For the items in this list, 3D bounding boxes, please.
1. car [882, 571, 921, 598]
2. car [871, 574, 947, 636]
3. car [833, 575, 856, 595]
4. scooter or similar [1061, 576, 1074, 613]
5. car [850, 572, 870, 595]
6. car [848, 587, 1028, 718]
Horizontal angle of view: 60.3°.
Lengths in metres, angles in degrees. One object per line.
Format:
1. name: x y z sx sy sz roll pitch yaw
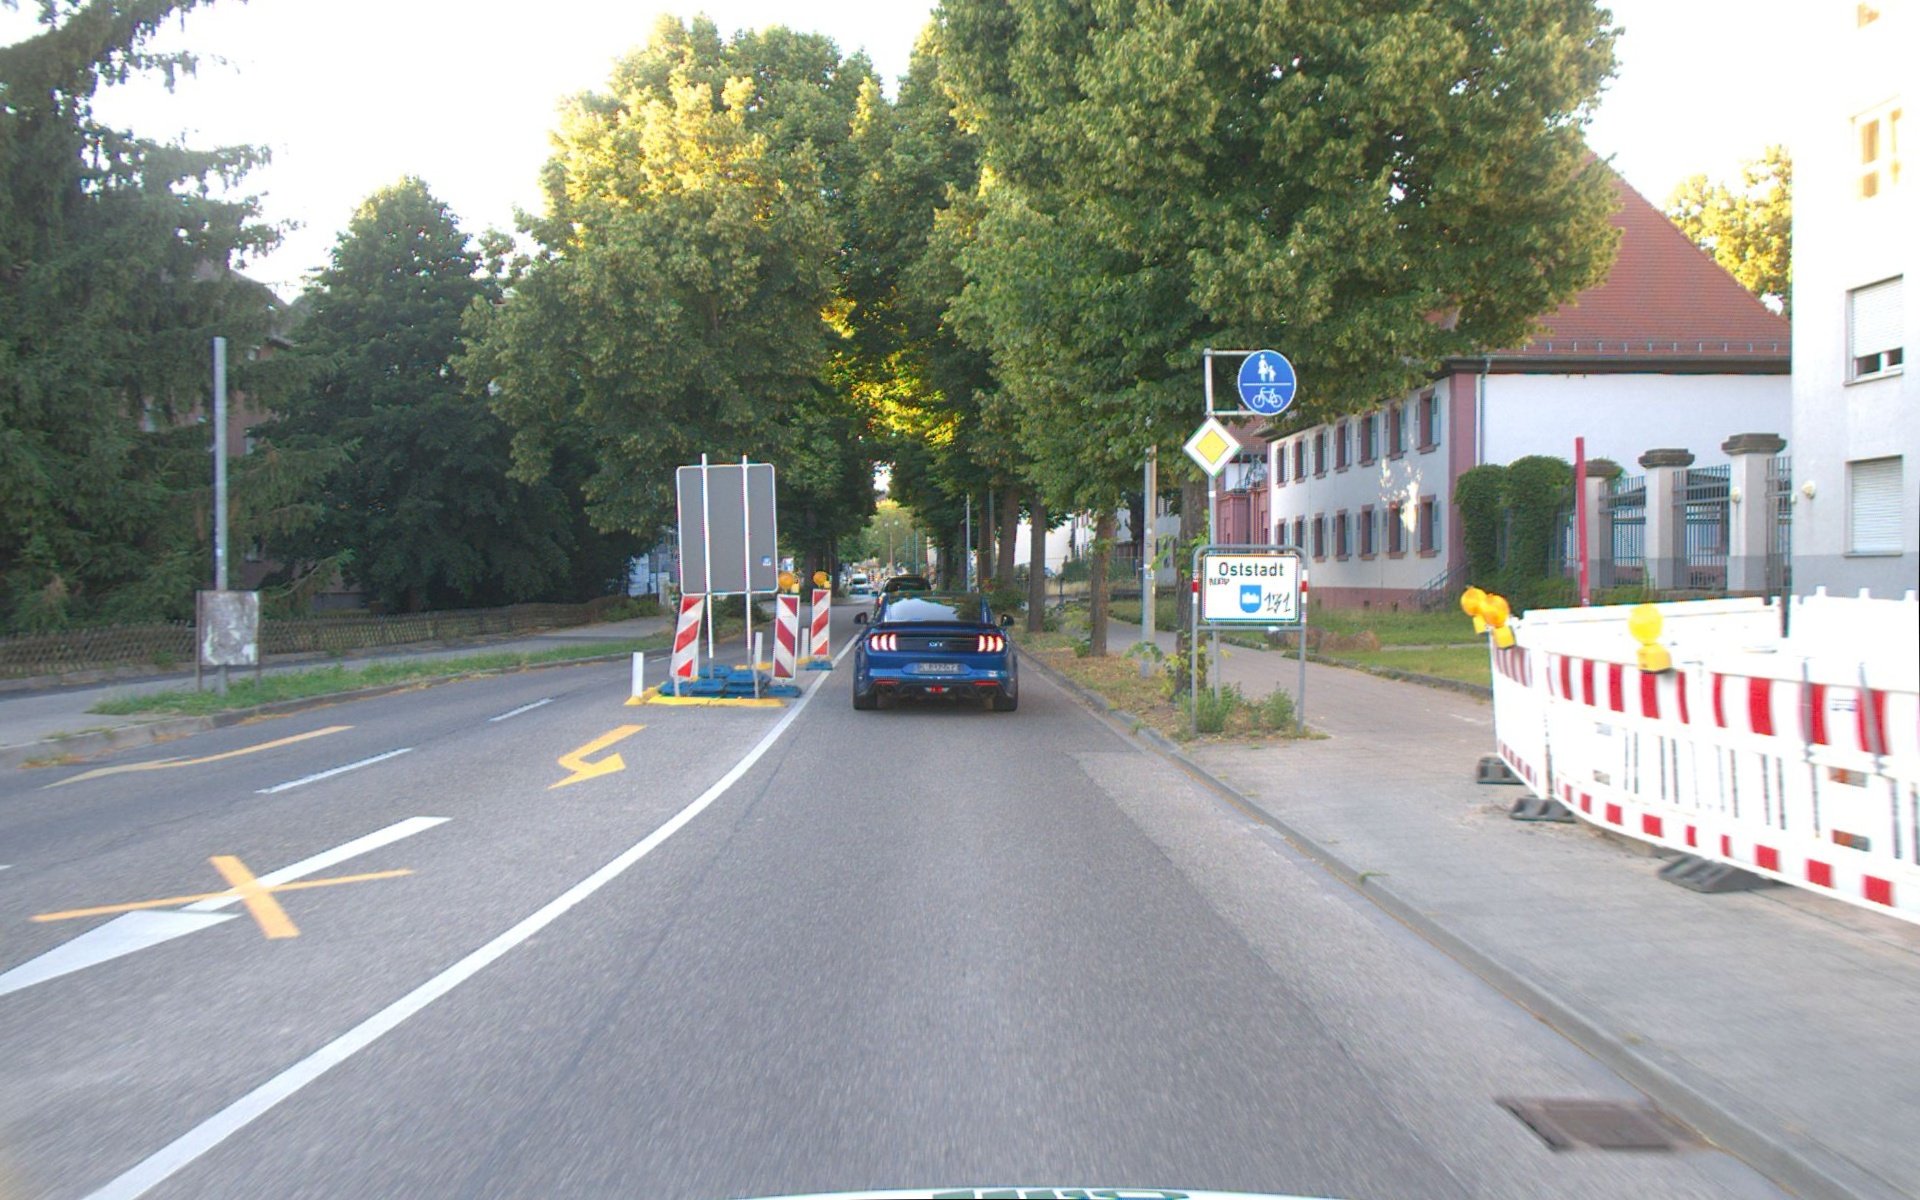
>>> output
1. car: -3.079 -0.827 88.071 1.907 1.350 4.000 1 1 0
2. car: -1.337 0.098 44.540 1.907 1.553 4.000 1 1 0
3. car: -13.425 -1.752 192.300 2.288 2.236 5.308 -1 1 -1
4. scooter or similar: 3.893 -0.198 59.888 0.234 1.298 1.265 -1 0 -7
5. car: -12.317 -1.991 203.980 2.442 2.744 5.827 -1 1 -3
6. car: -0.307 0.550 19.803 1.908 1.350 3.998 1 1 -2
